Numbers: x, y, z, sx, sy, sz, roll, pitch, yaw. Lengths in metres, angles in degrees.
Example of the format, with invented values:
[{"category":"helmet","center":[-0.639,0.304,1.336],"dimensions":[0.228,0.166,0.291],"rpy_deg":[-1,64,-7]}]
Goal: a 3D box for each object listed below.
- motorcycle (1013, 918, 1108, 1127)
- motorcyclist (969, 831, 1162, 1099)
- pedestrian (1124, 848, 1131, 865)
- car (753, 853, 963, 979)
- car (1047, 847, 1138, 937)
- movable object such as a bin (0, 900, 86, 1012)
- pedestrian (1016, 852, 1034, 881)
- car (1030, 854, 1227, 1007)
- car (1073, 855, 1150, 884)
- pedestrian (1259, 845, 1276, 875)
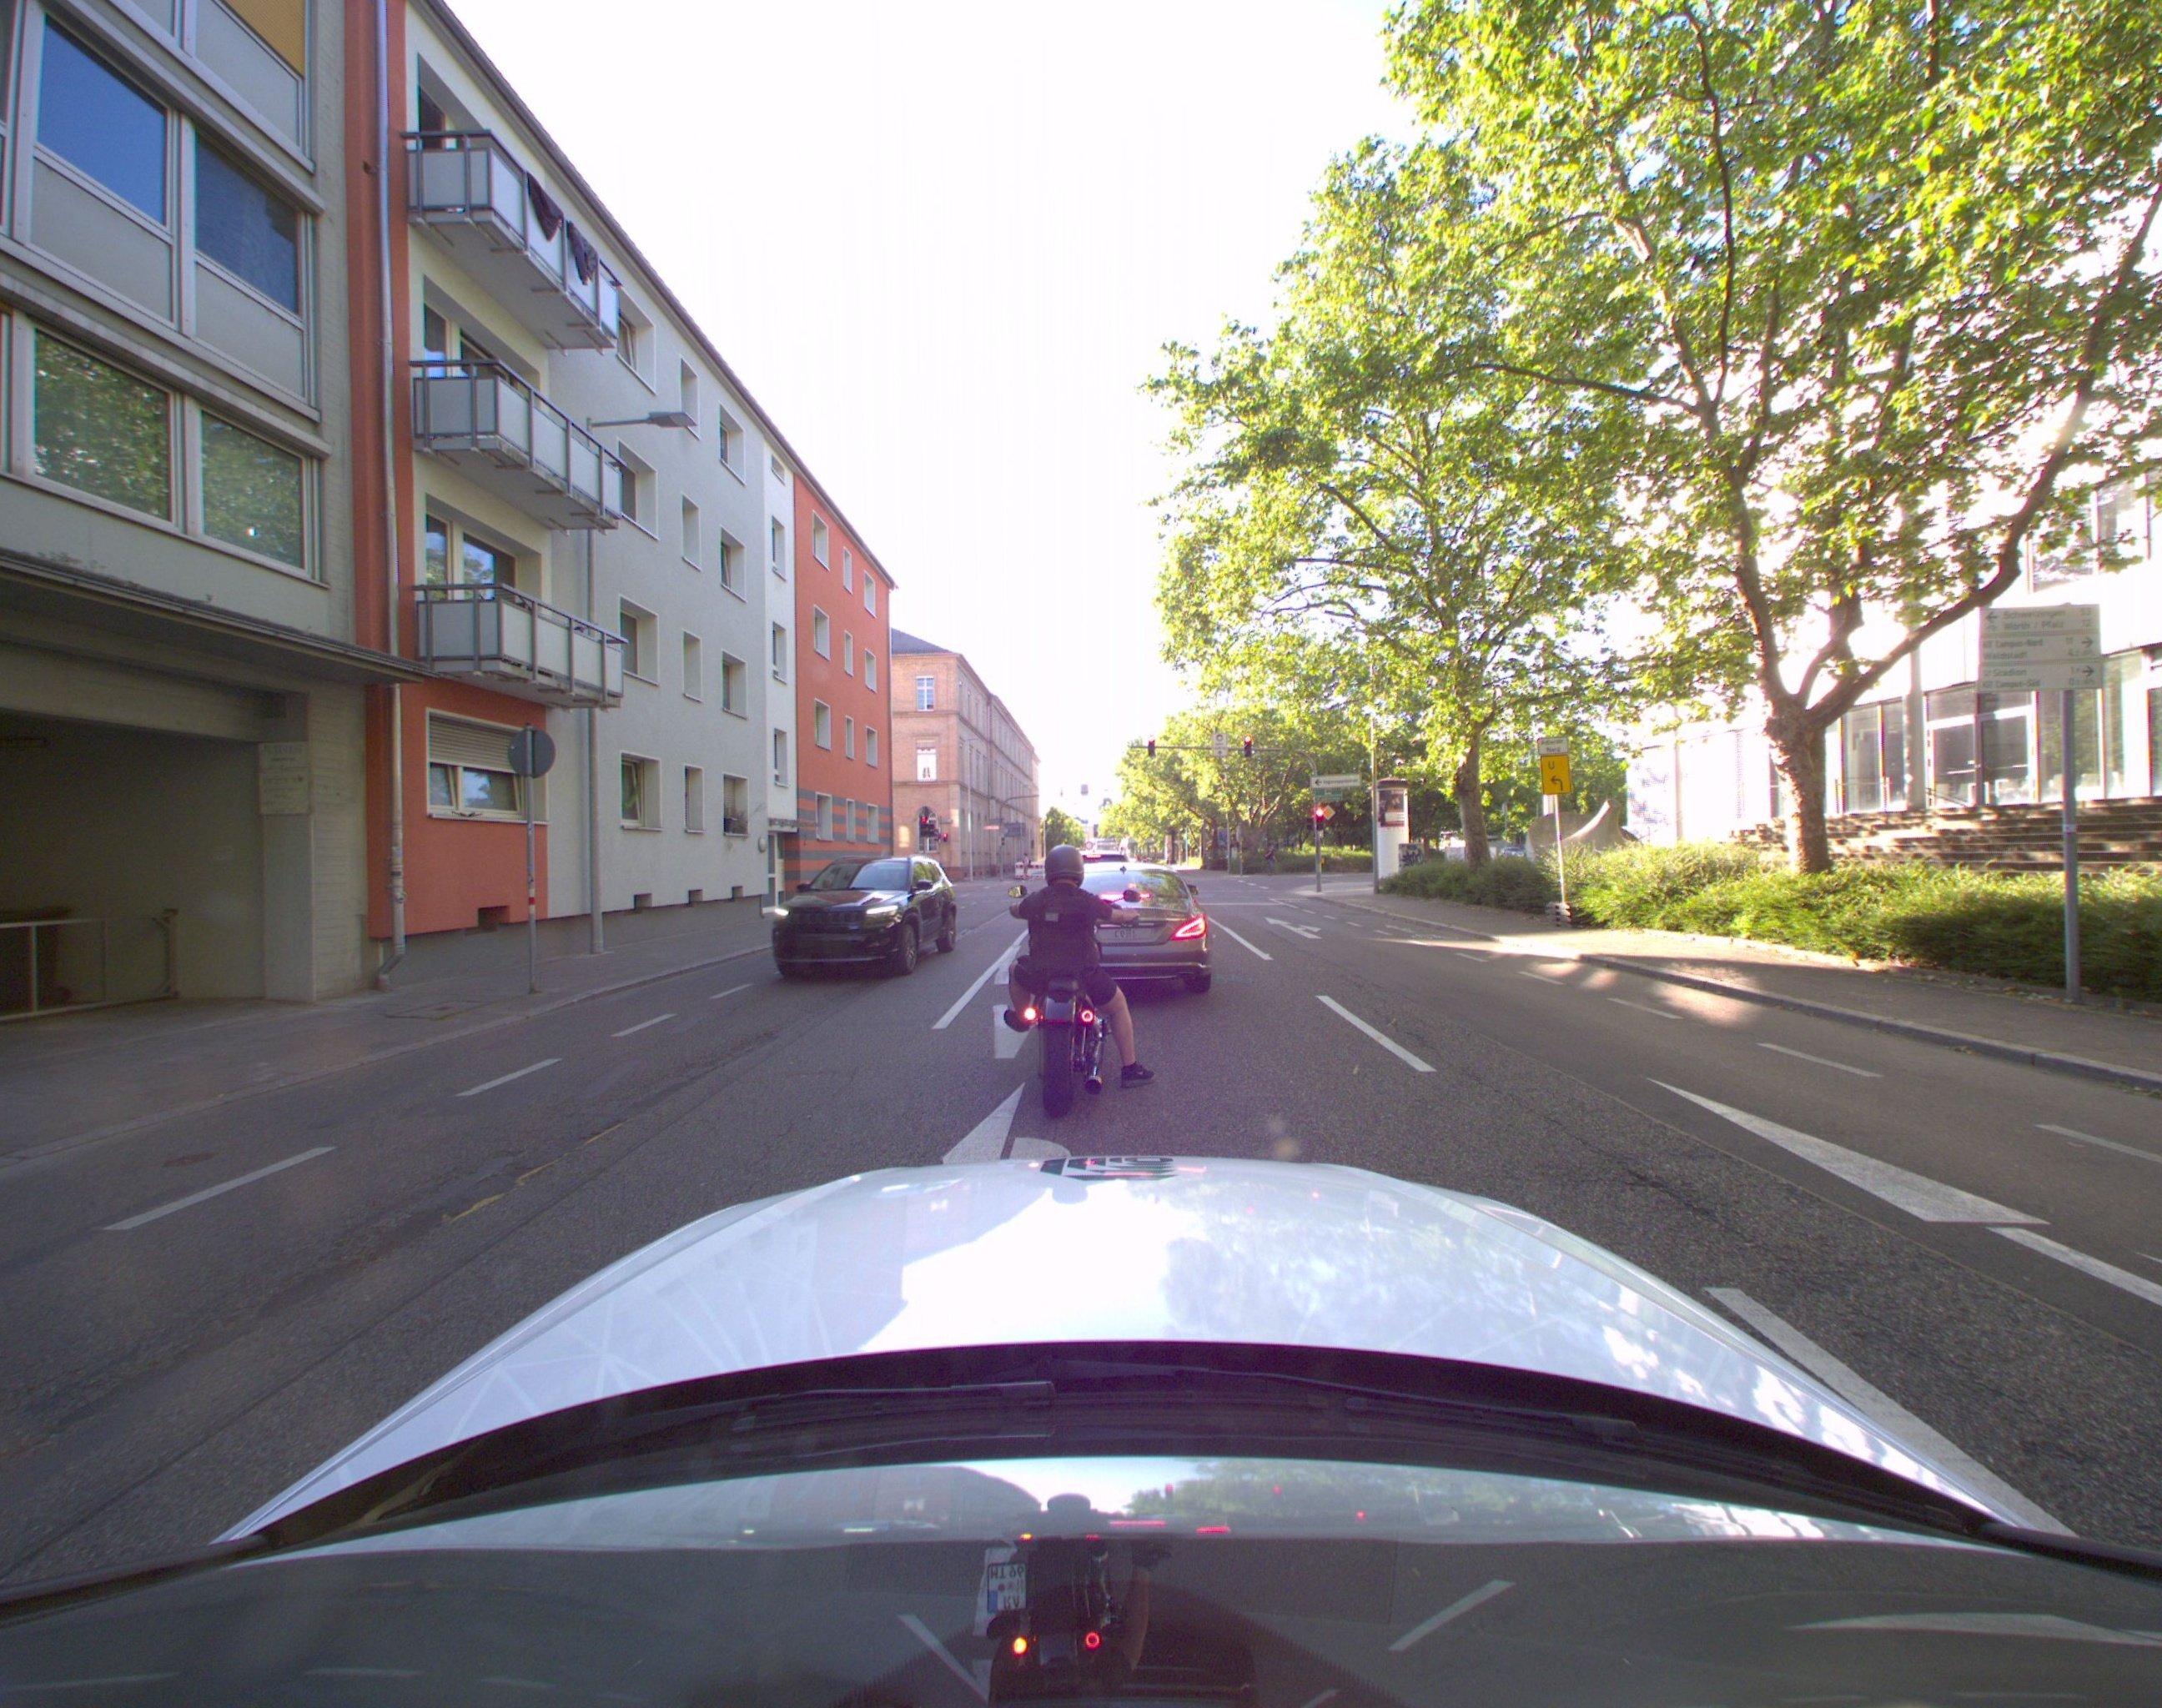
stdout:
[{"category":"motorcycle","center":[-0.079,1.002,5.465],"dimensions":[0.511,1.002,2.014],"rpy_deg":[0,-1,2]},{"category":"motorcyclist","center":[-0.072,0.670,5.514],"dimensions":[1.145,1.598,1.288],"rpy_deg":[0,-1,1]},{"category":"pedestrian","center":[5.744,0.282,100.983],"dimensions":[0.761,2.051,0.712],"rpy_deg":[0,-1,1]},{"category":"car","center":[-3.103,0.792,12.354],"dimensions":[1.843,1.570,4.387],"rpy_deg":[0,-1,2]},{"category":"car","center":[0.273,0.690,16.850],"dimensions":[1.615,1.594,4.002],"rpy_deg":[-1,0,2]},{"category":"movable object such as a bin","center":[-11.261,1.058,8.626],"dimensions":[0.626,1.100,0.659],"rpy_deg":[0,-1,4]},{"category":"pedestrian","center":[-3.520,0.784,51.275],"dimensions":[0.998,1.826,1.076],"rpy_deg":[0,-1,-1]},{"category":"car","center":[0.513,0.737,9.722],"dimensions":[1.875,1.449,3.821],"rpy_deg":[0,0,2]},{"category":"car","center":[1.740,0.838,45.616],"dimensions":[4.158,1.575,1.836],"rpy_deg":[0,-1,-42]},{"category":"pedestrian","center":[12.011,0.413,52.455],"dimensions":[0.915,1.910,0.756],"rpy_deg":[-1,-1,23]}]
